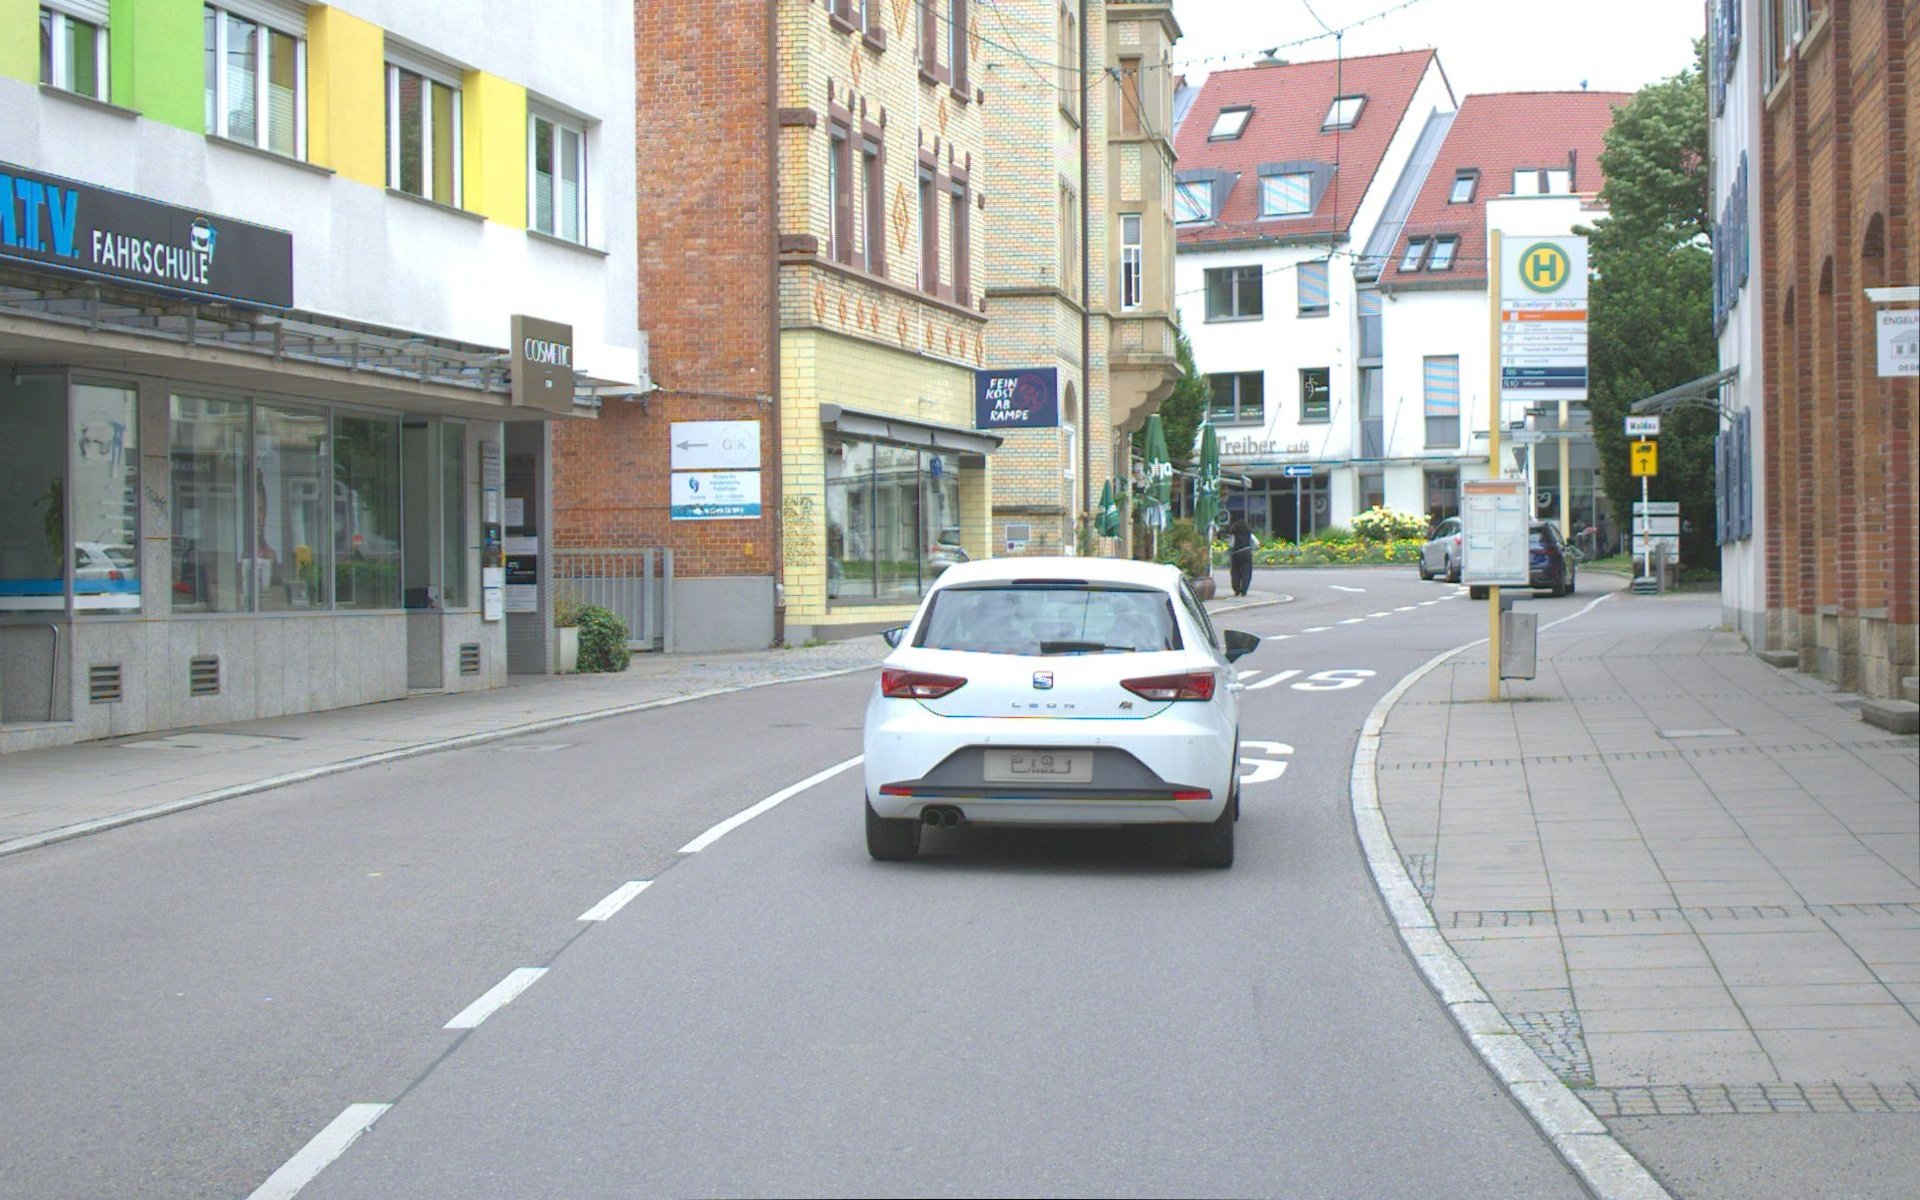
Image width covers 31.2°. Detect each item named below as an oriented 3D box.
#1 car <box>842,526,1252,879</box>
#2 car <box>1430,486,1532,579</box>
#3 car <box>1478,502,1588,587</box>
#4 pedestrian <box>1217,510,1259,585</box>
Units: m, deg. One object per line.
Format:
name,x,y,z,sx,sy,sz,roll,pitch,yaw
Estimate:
car,0.545,0.422,17.266,1.812,1.475,3.870,-1,2,5
car,11.630,-1.524,76.964,1.994,2.007,3.999,-1,1,5
car,10.728,-1.057,64.184,1.812,1.475,3.869,0,2,12
pedestrian,5.796,-1.095,71.627,0.834,1.546,0.627,-1,1,6
